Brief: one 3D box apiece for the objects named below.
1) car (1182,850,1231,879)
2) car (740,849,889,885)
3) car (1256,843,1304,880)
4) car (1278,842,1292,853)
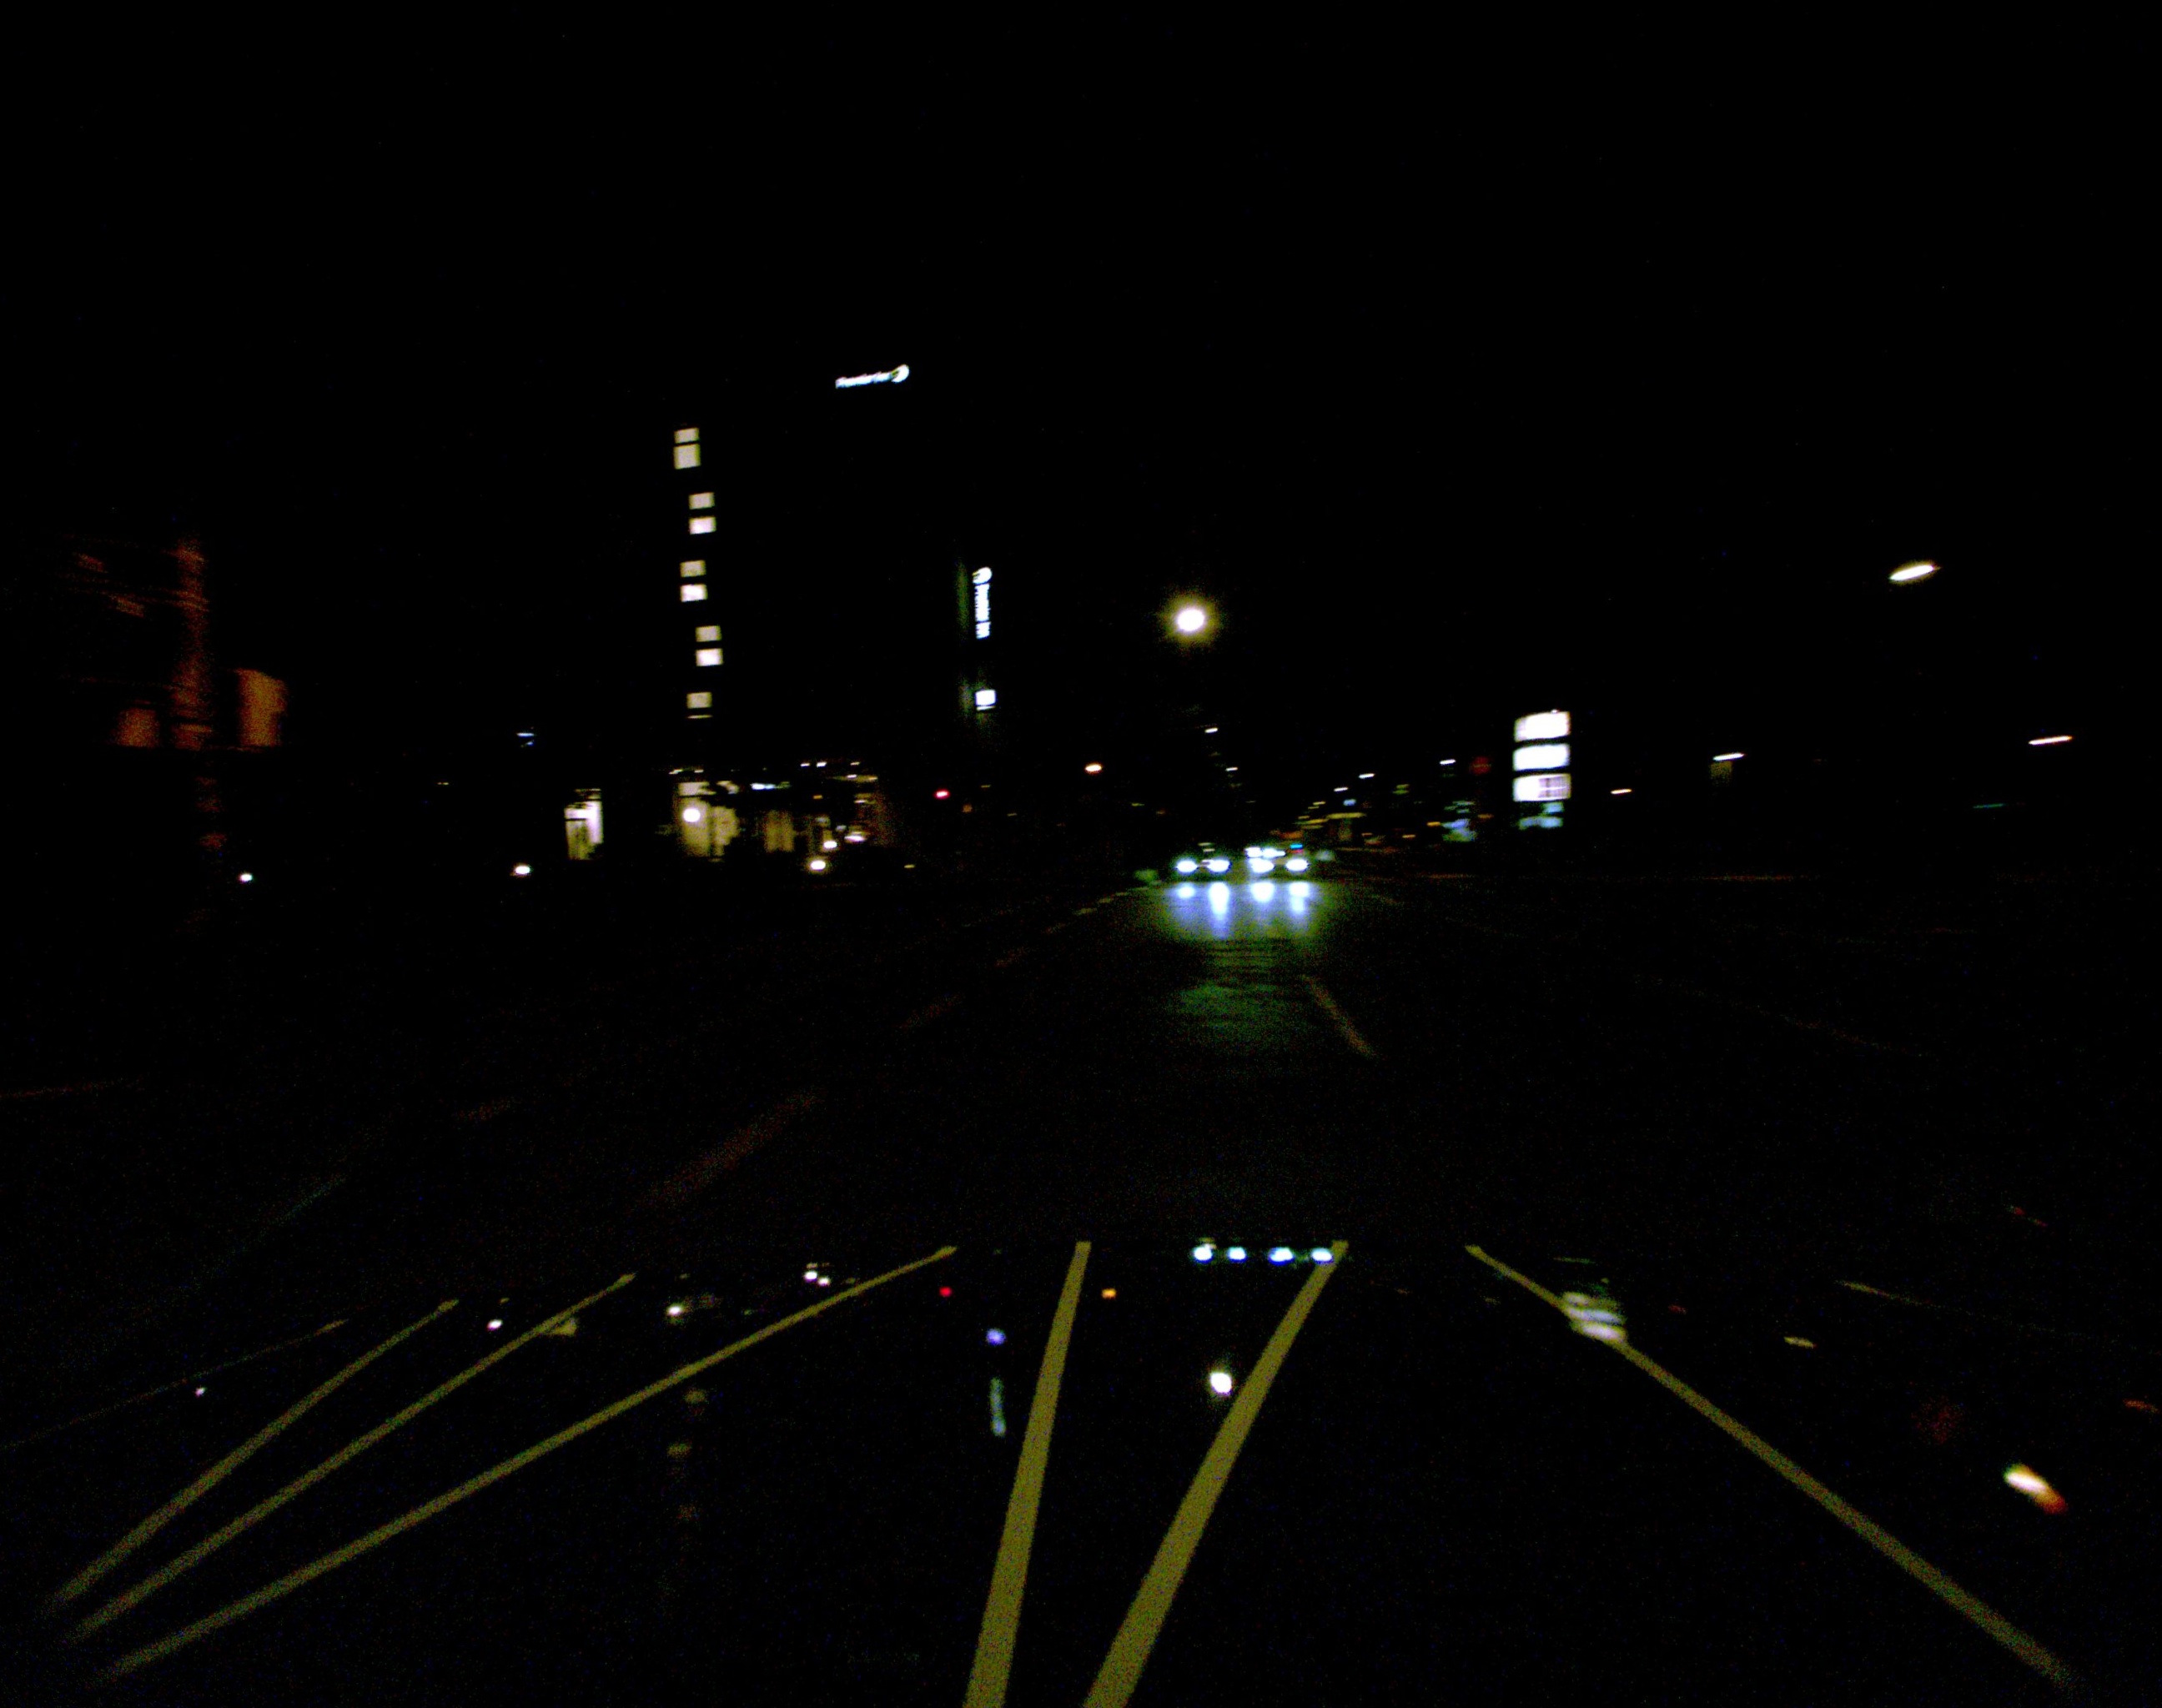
[{"bbox_3d":[5.971,0.459,35.777,1.946,1.299,3.909,0,1,15],"label":"car"},{"bbox_3d":[-8.046,0.370,23.069,4.007,1.028,1.480,0,0,-33],"label":"car"},{"bbox_3d":[8.760,0.308,33.484,1.857,1.482,3.562,-2,0,15],"label":"car"},{"bbox_3d":[34.423,-1.117,128.129,1.906,1.608,3.721,-2,1,9],"label":"car"}]
